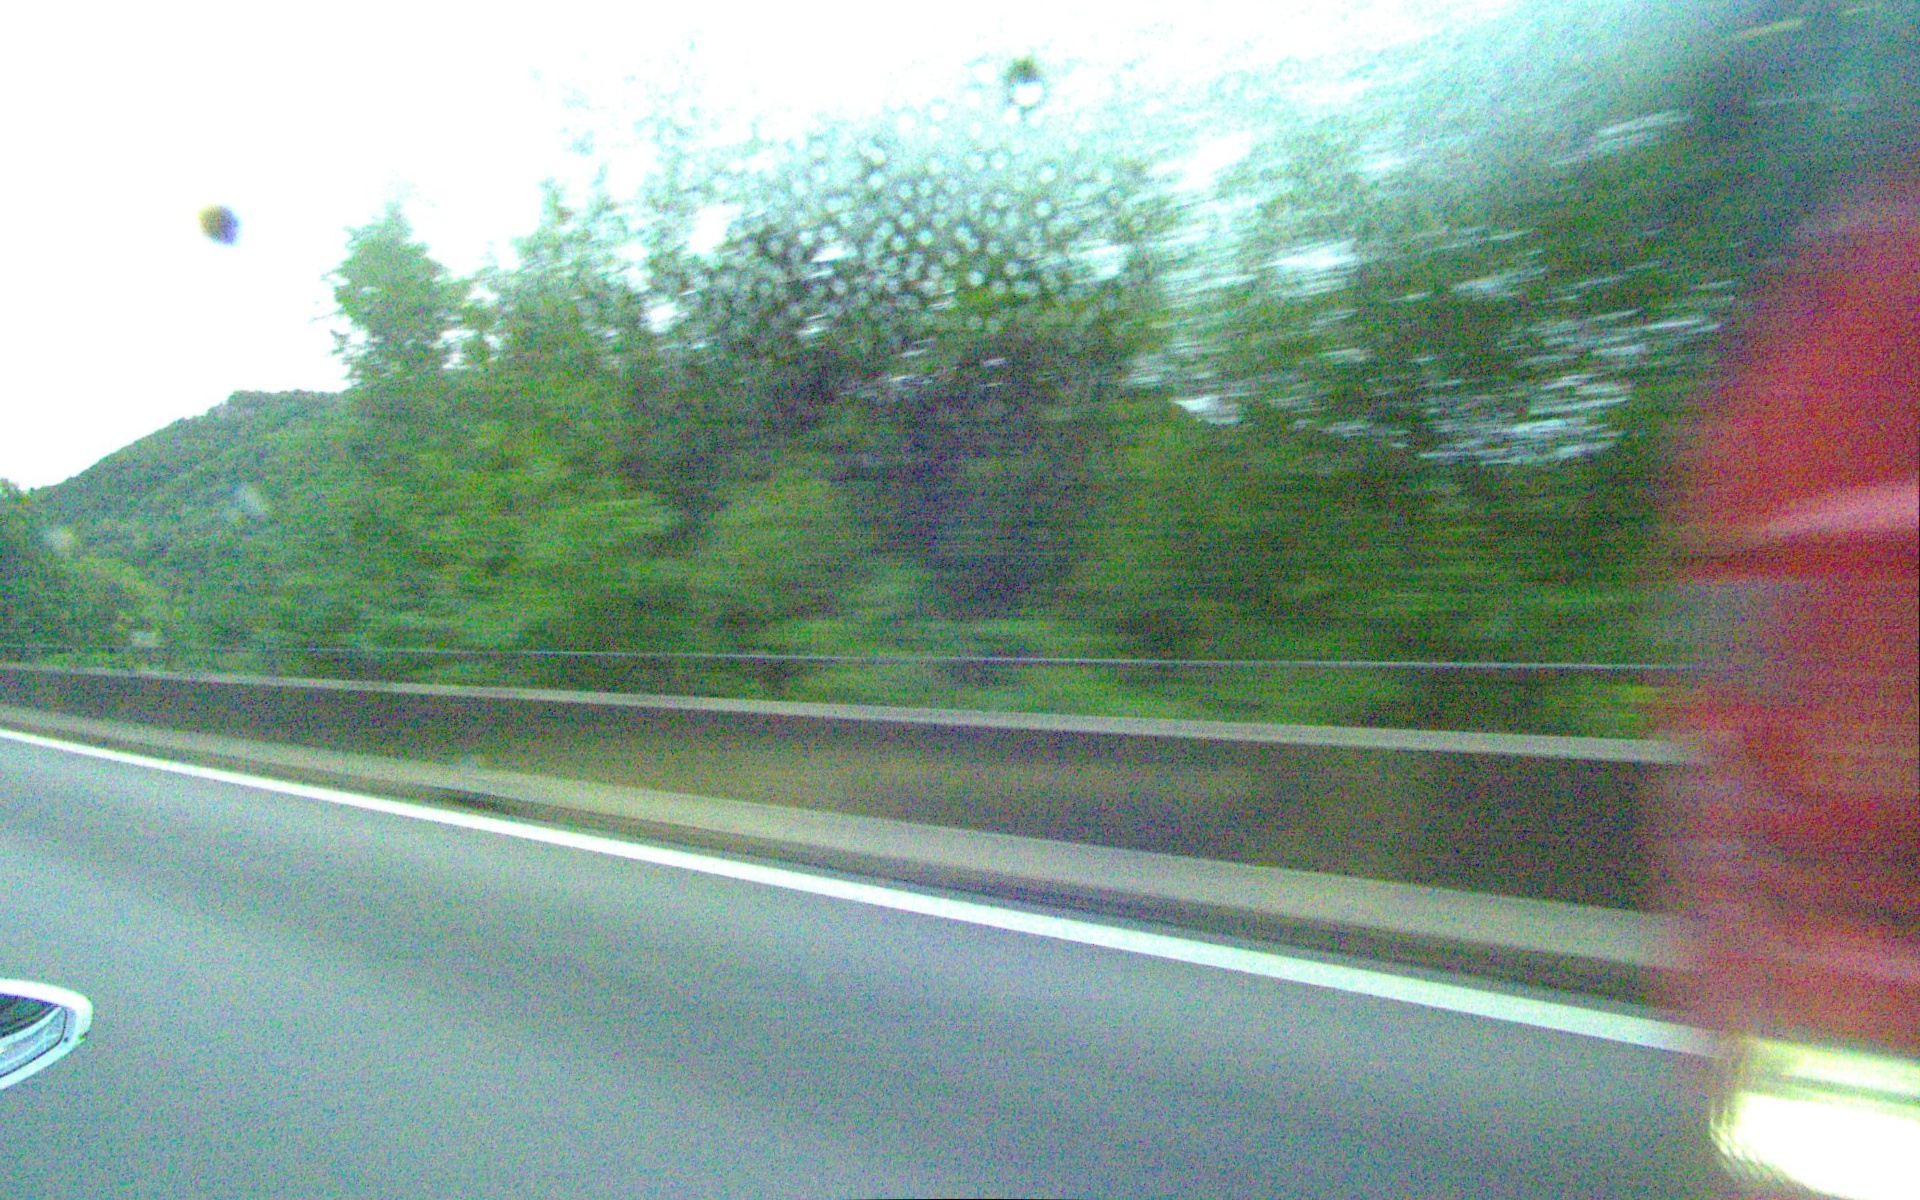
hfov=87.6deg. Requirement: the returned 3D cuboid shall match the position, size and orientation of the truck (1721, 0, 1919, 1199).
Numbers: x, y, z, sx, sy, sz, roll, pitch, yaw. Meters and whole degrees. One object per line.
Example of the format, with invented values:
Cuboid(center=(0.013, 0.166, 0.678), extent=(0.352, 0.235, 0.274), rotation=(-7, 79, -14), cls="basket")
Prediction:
Cuboid(center=(4.727, -0.610, 0.706), extent=(6.353, 4.201, 3.063), rotation=(-1, 1, 31), cls="truck")
